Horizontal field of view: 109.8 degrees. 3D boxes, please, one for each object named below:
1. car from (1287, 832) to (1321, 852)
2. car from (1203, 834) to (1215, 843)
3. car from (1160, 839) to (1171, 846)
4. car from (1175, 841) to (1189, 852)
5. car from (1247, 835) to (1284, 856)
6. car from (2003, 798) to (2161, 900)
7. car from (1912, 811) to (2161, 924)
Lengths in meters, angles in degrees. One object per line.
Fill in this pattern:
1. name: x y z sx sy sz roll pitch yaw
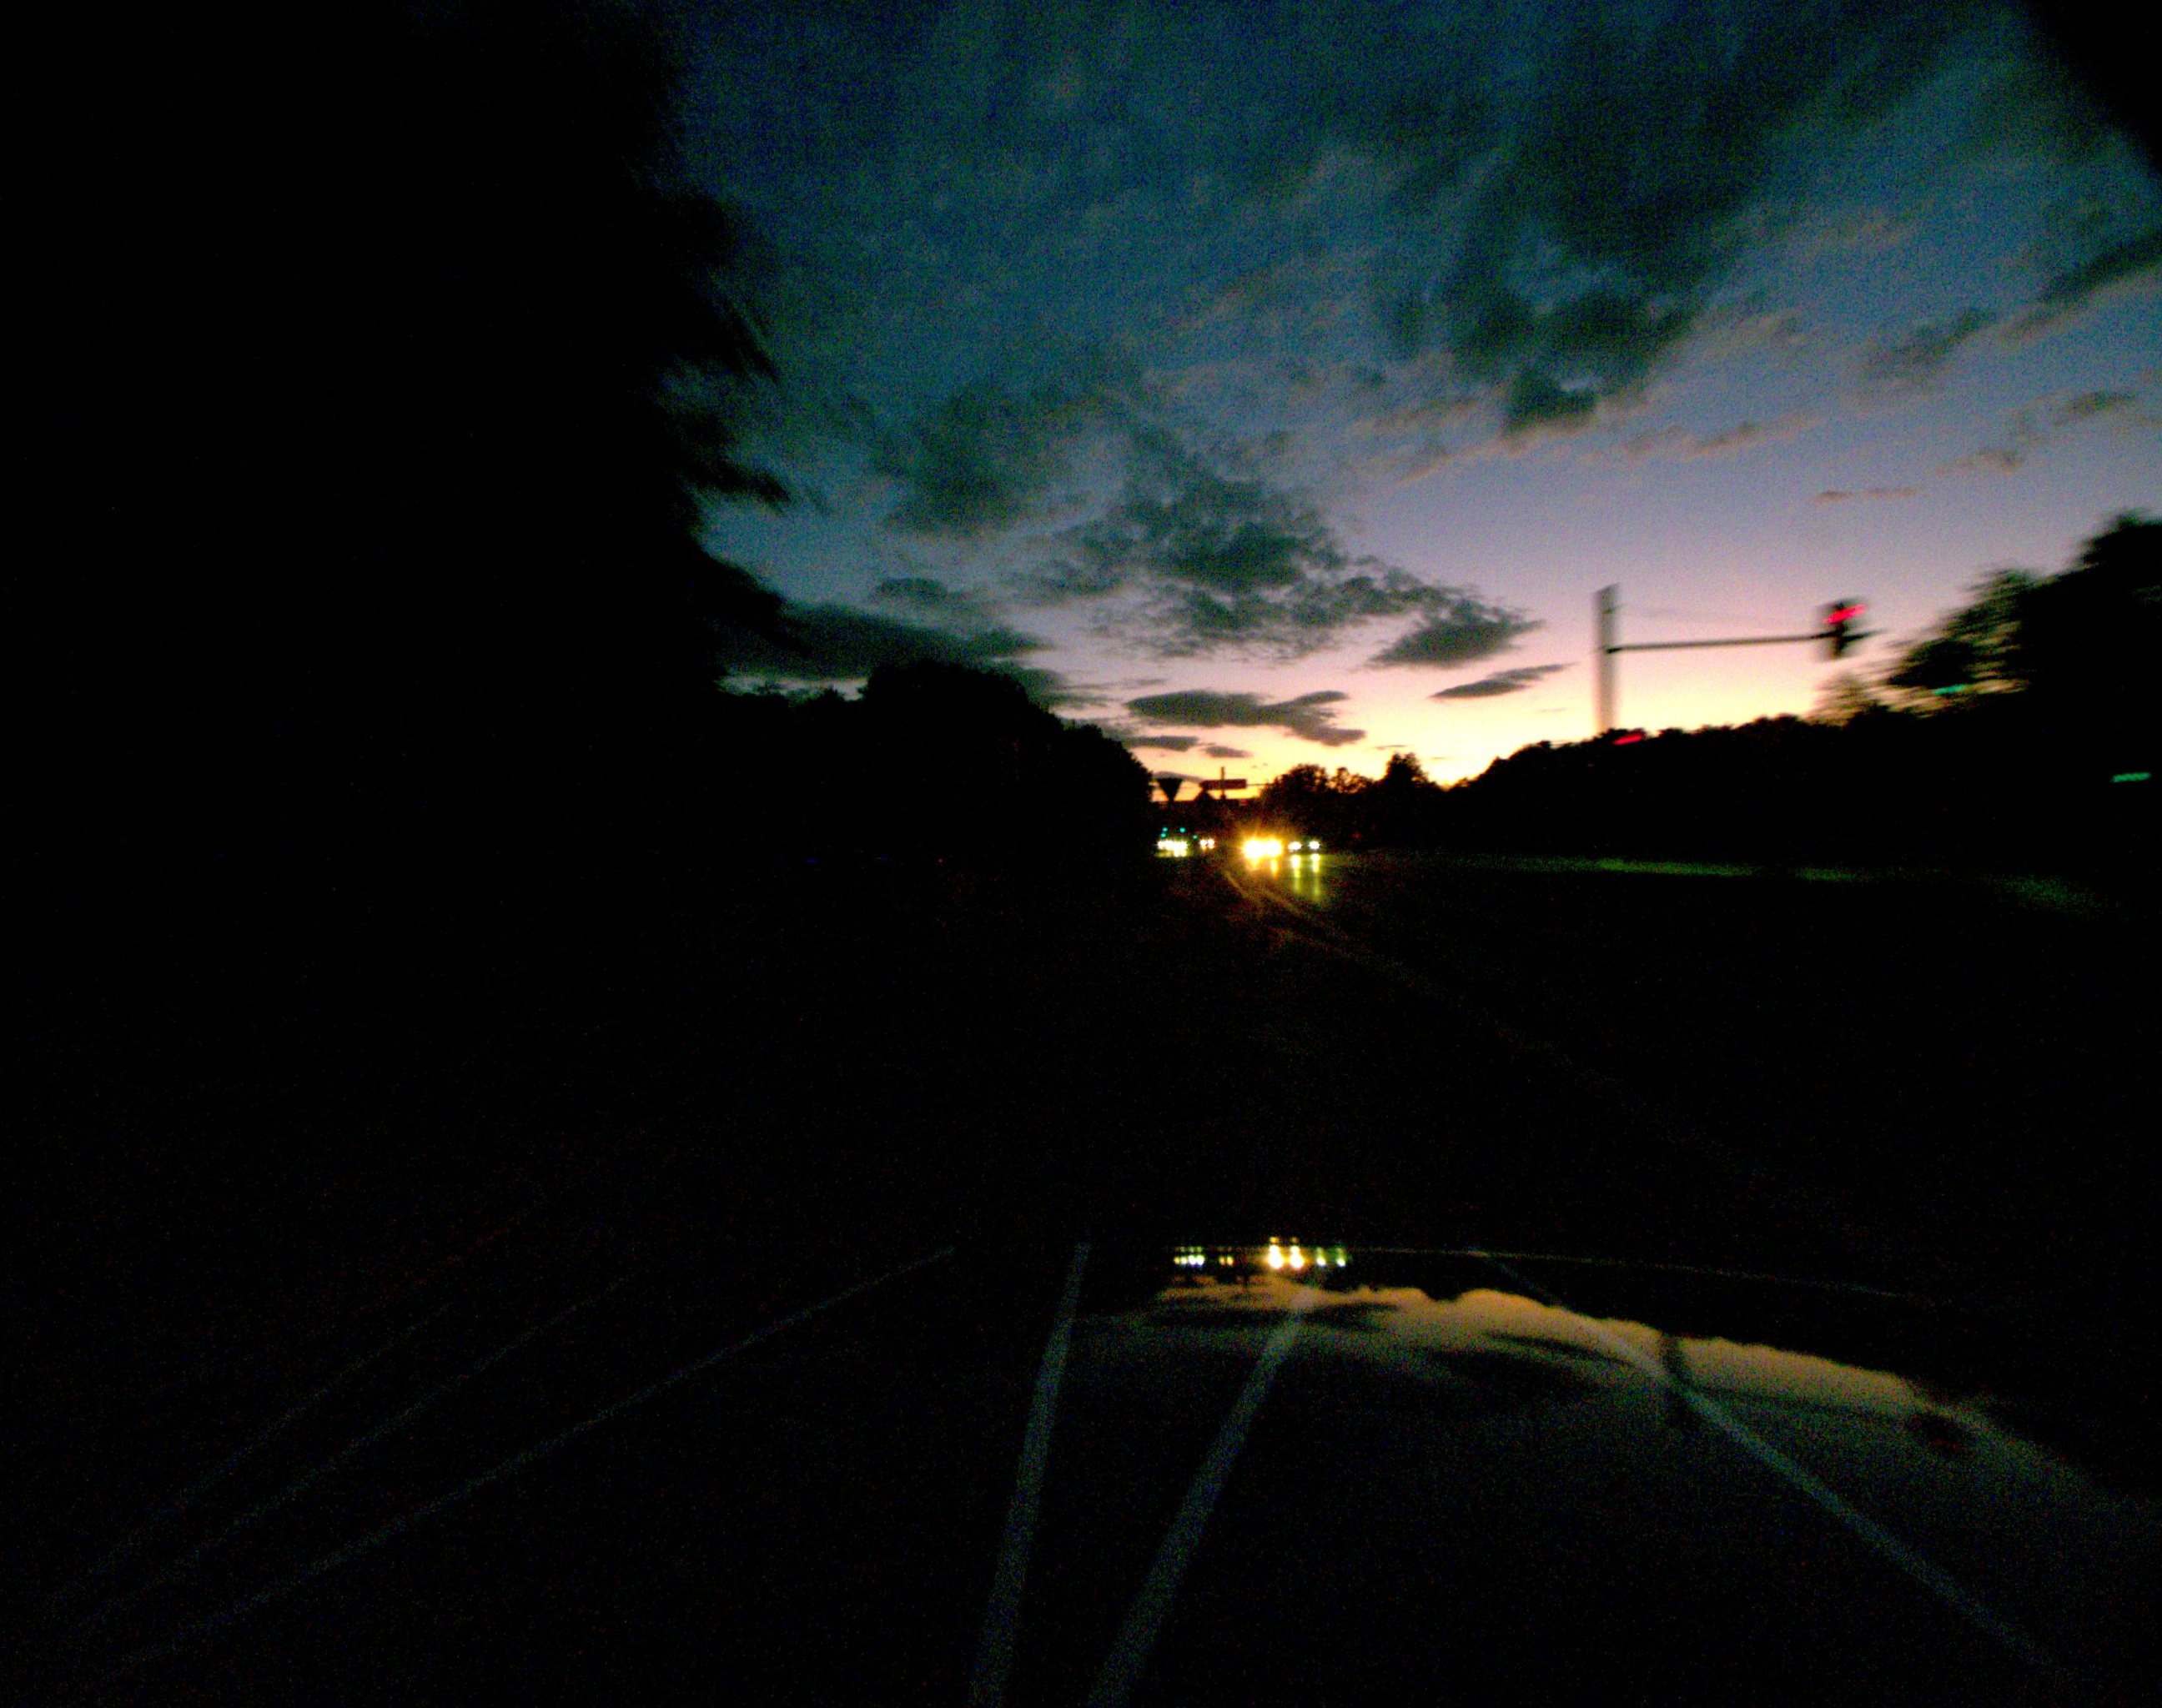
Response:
1. car: 17.961 -0.995 61.429 1.997 1.445 4.736 -2 1 9
2. car: 25.641 -3.123 151.831 2.056 1.587 4.003 -2 1 13
3. car: 18.239 -2.496 164.161 1.999 1.587 3.999 -2 1 -1
4. car: 17.311 -1.351 130.205 2.006 1.718 4.003 -1 1 13
5. car: 12.966 -0.600 53.652 1.998 1.445 4.001 0 1 5
6. car: 18.747 -0.089 12.277 1.998 1.672 4.873 -1 2 5
7. car: 14.857 0.146 10.355 1.997 1.445 5.049 0 1 8
